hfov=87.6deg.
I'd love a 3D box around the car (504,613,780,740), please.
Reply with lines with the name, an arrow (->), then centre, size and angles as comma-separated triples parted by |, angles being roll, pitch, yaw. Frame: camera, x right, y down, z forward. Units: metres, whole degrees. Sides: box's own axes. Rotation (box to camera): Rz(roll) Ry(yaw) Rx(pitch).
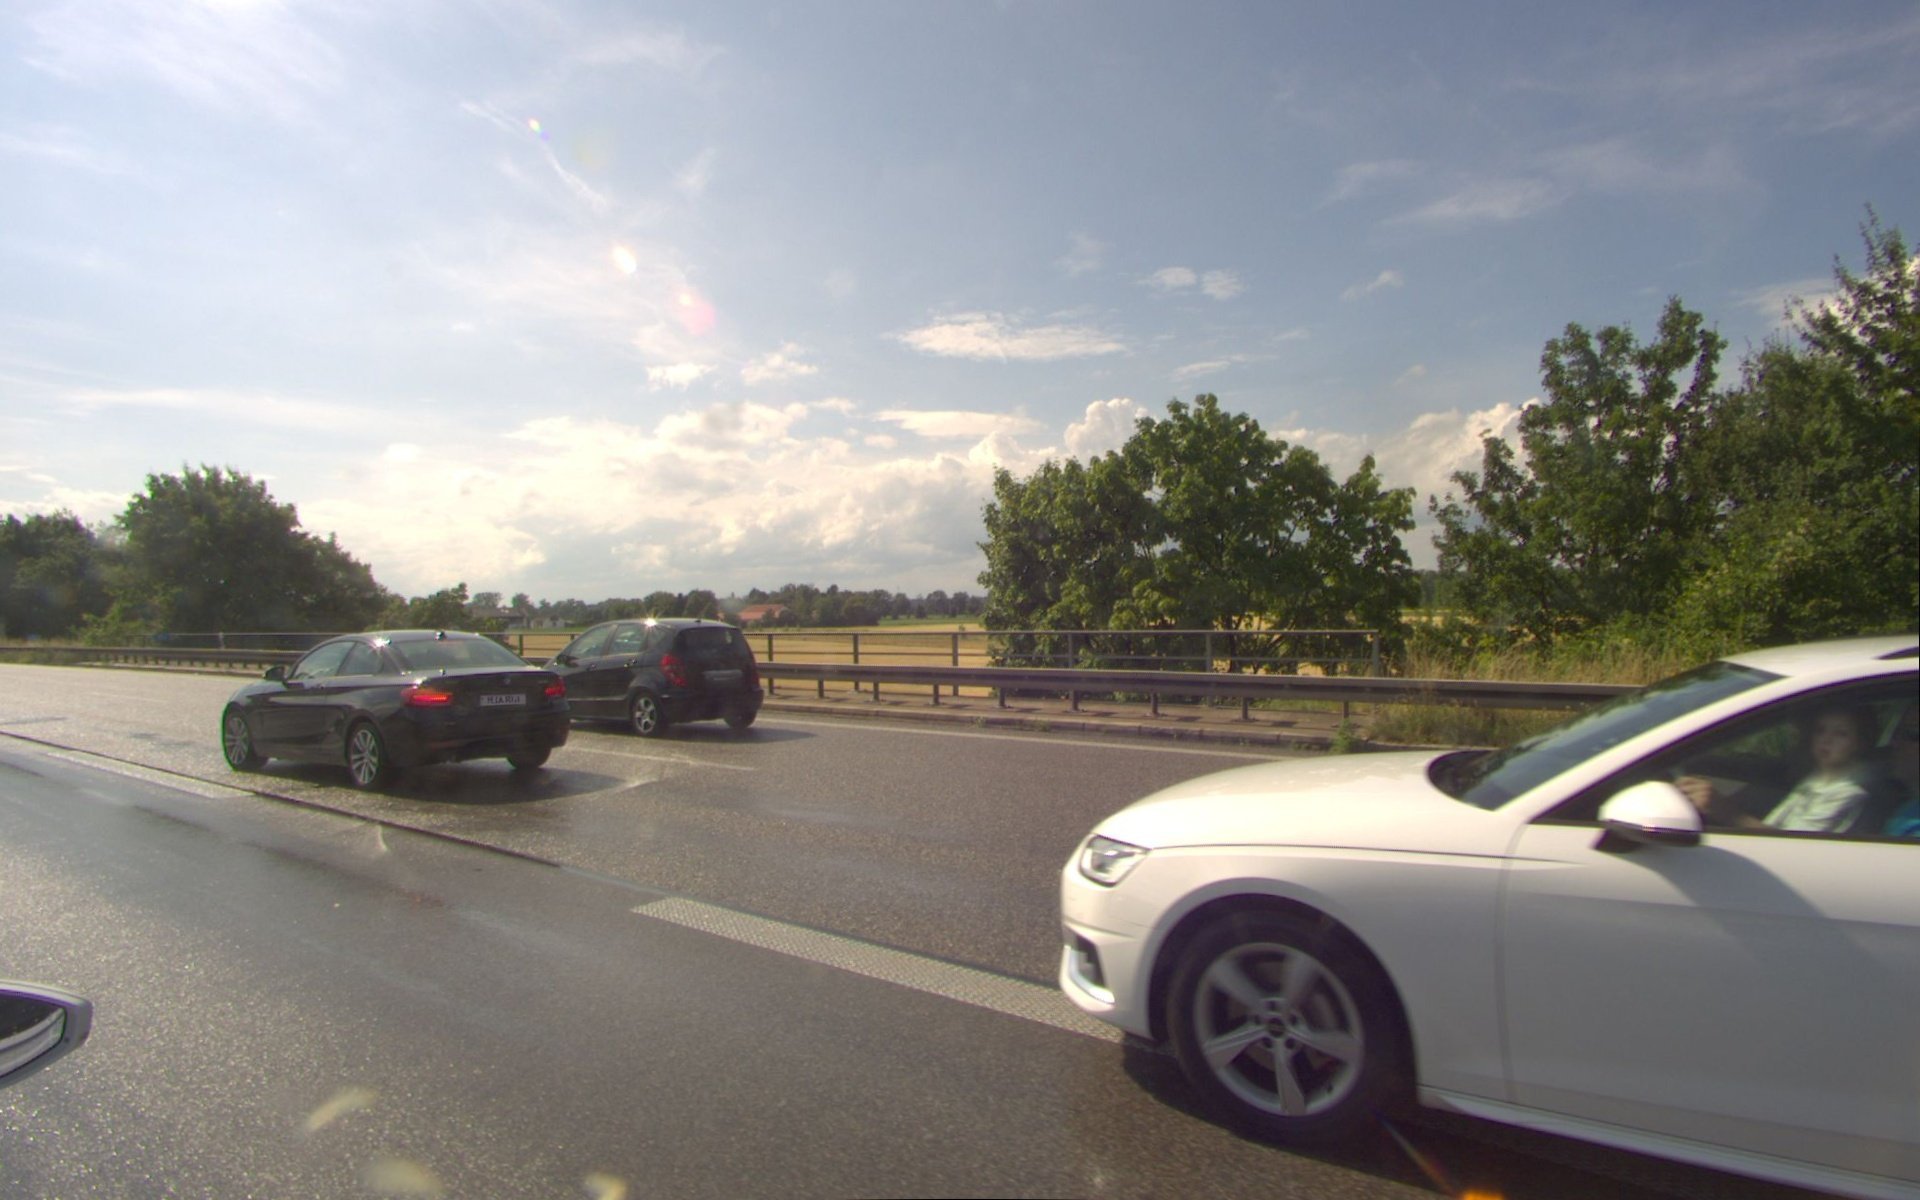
car -> -4.655, 1.027, 14.474 | 3.948, 1.589, 1.843 | -1, -2, 36

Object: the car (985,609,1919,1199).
car -> 2.453, 0.770, 2.805 | 4.446, 1.444, 1.823 | -2, 0, 31

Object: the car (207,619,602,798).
car -> -5.816, 0.972, 10.351 | 4.197, 1.483, 1.844 | -1, -1, 33
